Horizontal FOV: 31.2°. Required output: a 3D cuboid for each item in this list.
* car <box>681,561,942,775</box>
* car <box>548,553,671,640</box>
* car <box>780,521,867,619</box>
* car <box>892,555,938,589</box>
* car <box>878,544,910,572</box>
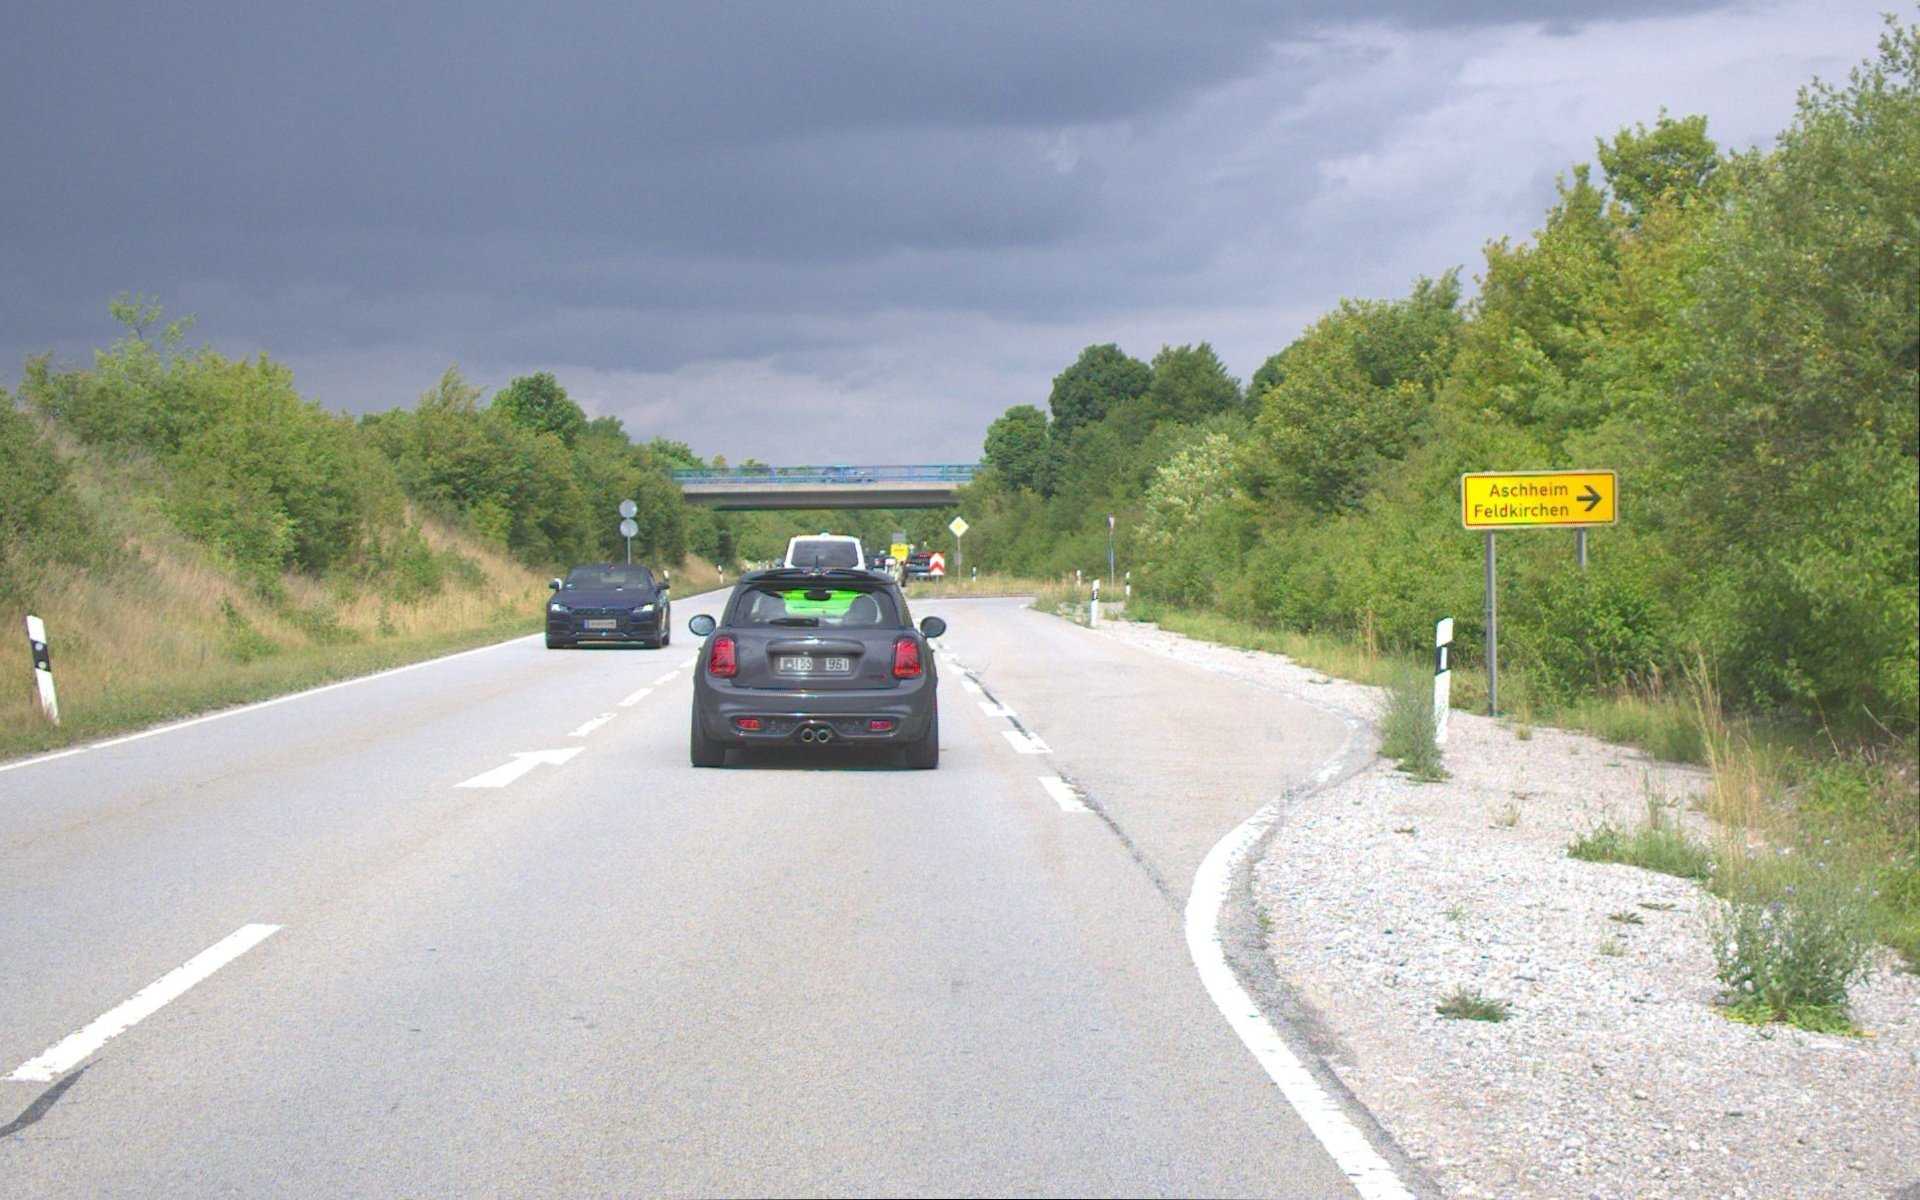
[{"bbox_3d":[-1.074,0.441,25.418,1.756,1.422,4.000,1,1,-2],"label":"car"},{"bbox_3d":[-5.652,-0.080,55.801,1.701,1.326,4.000,-1,1,-2],"label":"car"},{"bbox_3d":[-2.964,-0.661,74.903,1.819,2.047,4.000,1,1,-2],"label":"car"},{"bbox_3d":[-2.188,-1.363,166.151,1.993,1.546,4.001,1,1,-4],"label":"car"},{"bbox_3d":[-4.085,-2.586,212.539,1.780,1.700,4.001,1,1,-3],"label":"car"}]
